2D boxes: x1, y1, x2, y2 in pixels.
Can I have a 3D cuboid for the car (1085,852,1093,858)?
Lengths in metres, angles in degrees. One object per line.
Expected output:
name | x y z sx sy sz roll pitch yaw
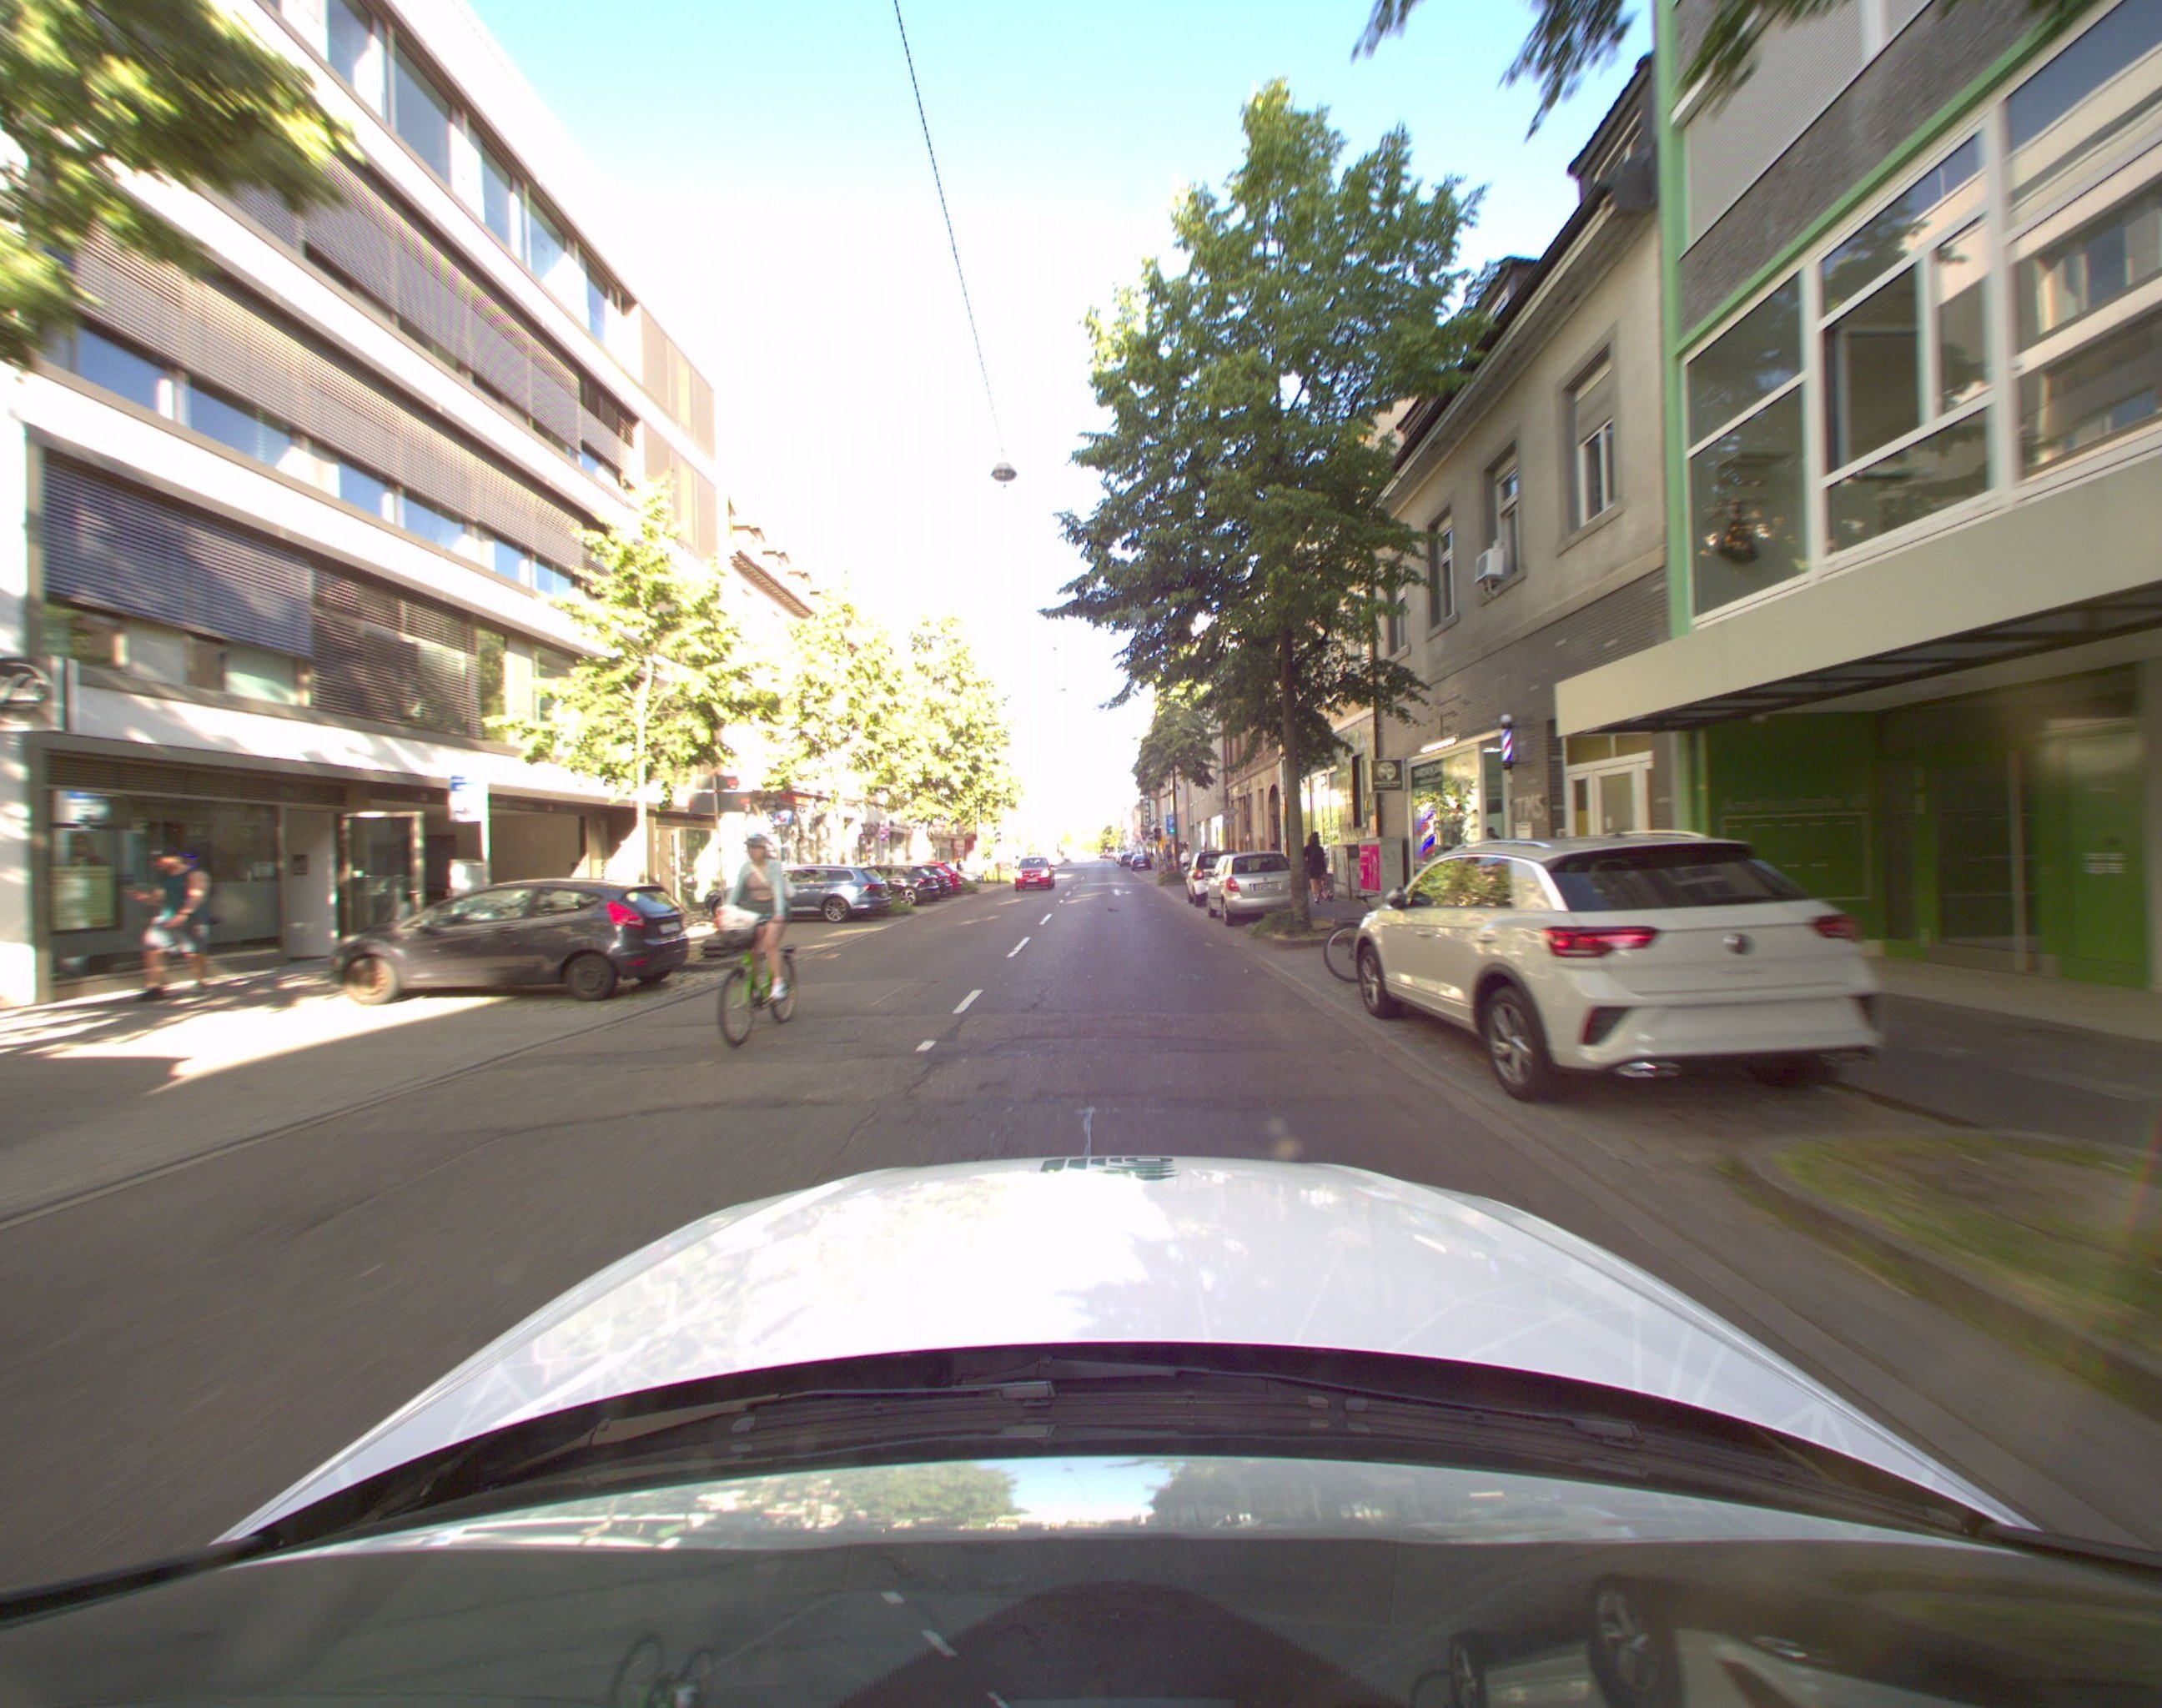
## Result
car | 2.430 0.252 245.287 1.985 1.772 4.003 0 1 3

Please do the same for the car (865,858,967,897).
car | -6.642 0.939 32.995 3.735 1.468 1.740 -1 0 1

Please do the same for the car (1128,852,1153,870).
car | 5.388 0.609 74.098 1.910 1.478 4.967 -5 0 2

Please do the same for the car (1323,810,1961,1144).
car | 3.404 0.605 6.143 1.876 1.527 4.234 -4 0 1

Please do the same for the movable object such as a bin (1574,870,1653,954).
movable object such as a bin | 6.500 0.690 9.961 0.520 0.956 0.656 -2 0 3

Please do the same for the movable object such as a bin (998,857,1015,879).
movable object such as a bin | -5.043 0.940 55.176 1.038 1.471 1.143 -2 0 0

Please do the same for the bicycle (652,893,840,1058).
bicycle | -2.966 1.009 7.517 0.722 1.169 2.198 -2 0 2

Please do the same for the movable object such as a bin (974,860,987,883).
movable object such as a bin | -5.917 1.016 48.025 0.632 1.341 0.805 -2 0 0

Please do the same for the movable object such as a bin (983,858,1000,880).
movable object such as a bin | -6.082 1.007 55.180 0.960 1.471 1.143 -2 0 0

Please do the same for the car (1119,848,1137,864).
car | 5.394 0.195 93.726 1.966 1.725 4.826 0 0 2

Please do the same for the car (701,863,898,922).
car | -7.219 0.964 21.219 4.478 1.459 1.790 0 0 -1

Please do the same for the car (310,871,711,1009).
car | -7.037 1.008 10.430 3.775 1.458 1.777 -1 0 -6

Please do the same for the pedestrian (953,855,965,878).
pedestrian | -9.148 0.924 61.266 0.662 1.659 1.037 -2 0 1

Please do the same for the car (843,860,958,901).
car | -6.678 0.981 30.426 3.825 1.429 1.791 -1 0 3

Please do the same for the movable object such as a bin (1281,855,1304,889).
movable object such as a bin | 6.857 0.576 26.370 0.520 1.040 0.722 -4 0 2

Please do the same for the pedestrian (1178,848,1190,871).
pedestrian | 7.106 0.395 56.173 0.578 1.559 1.021 -4 0 1

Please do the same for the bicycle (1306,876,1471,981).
bicycle | 3.571 0.850 9.541 1.617 1.012 0.611 -6 0 -1

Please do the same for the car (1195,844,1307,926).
car | 3.708 0.621 18.473 1.608 1.528 4.235 -5 0 1

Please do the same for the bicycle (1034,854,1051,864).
bicycle | -7.381 0.974 156.101 3.101 2.013 0.911 -1 0 10

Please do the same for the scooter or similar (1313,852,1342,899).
scooter or similar | 6.470 0.543 21.412 0.398 1.187 1.168 -4 0 3

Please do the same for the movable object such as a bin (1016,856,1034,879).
movable object such as a bin | -3.788 0.891 55.129 1.038 1.471 1.452 -2 0 0

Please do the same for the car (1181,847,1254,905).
car | 3.992 0.618 24.264 1.608 1.528 3.061 -3 0 1

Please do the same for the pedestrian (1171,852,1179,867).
pedestrian | 6.502 0.392 56.138 0.392 1.033 0.740 -4 0 0

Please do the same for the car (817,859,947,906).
car | -6.714 0.955 27.695 3.903 1.485 1.772 -1 0 2

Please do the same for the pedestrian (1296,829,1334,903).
pedestrian | 5.826 0.286 20.316 0.620 1.765 0.771 -4 0 2

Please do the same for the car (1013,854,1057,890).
car | -2.088 0.797 38.068 1.652 1.535 3.762 -3 0 2

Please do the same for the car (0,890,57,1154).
car | -8.118 0.985 3.700 4.235 1.458 1.978 -1 0 -3

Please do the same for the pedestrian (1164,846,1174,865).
pedestrian | 7.867 0.160 72.883 0.689 1.635 0.889 -4 0 1

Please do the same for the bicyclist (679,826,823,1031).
bicyclist | -2.973 0.626 7.473 0.722 1.700 1.283 -2 0 2

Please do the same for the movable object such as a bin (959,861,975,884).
movable object such as a bin | -6.713 1.072 47.938 0.752 1.341 0.805 -2 0 0

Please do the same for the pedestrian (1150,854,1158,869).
pedestrian | 8.249 0.821 91.686 0.797 1.675 0.590 -3 -1 4

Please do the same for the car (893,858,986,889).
car | -6.939 0.954 40.272 4.185 1.468 1.741 -1 0 3

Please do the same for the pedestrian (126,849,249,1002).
pedestrian | -10.962 0.847 10.013 0.694 1.797 0.748 -1 0 13

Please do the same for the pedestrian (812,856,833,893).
pedestrian | -10.151 0.802 31.980 0.505 1.408 0.826 0 0 6

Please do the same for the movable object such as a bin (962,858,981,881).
movable object such as a bin | -7.402 1.024 55.122 1.038 1.471 1.143 -2 0 0
